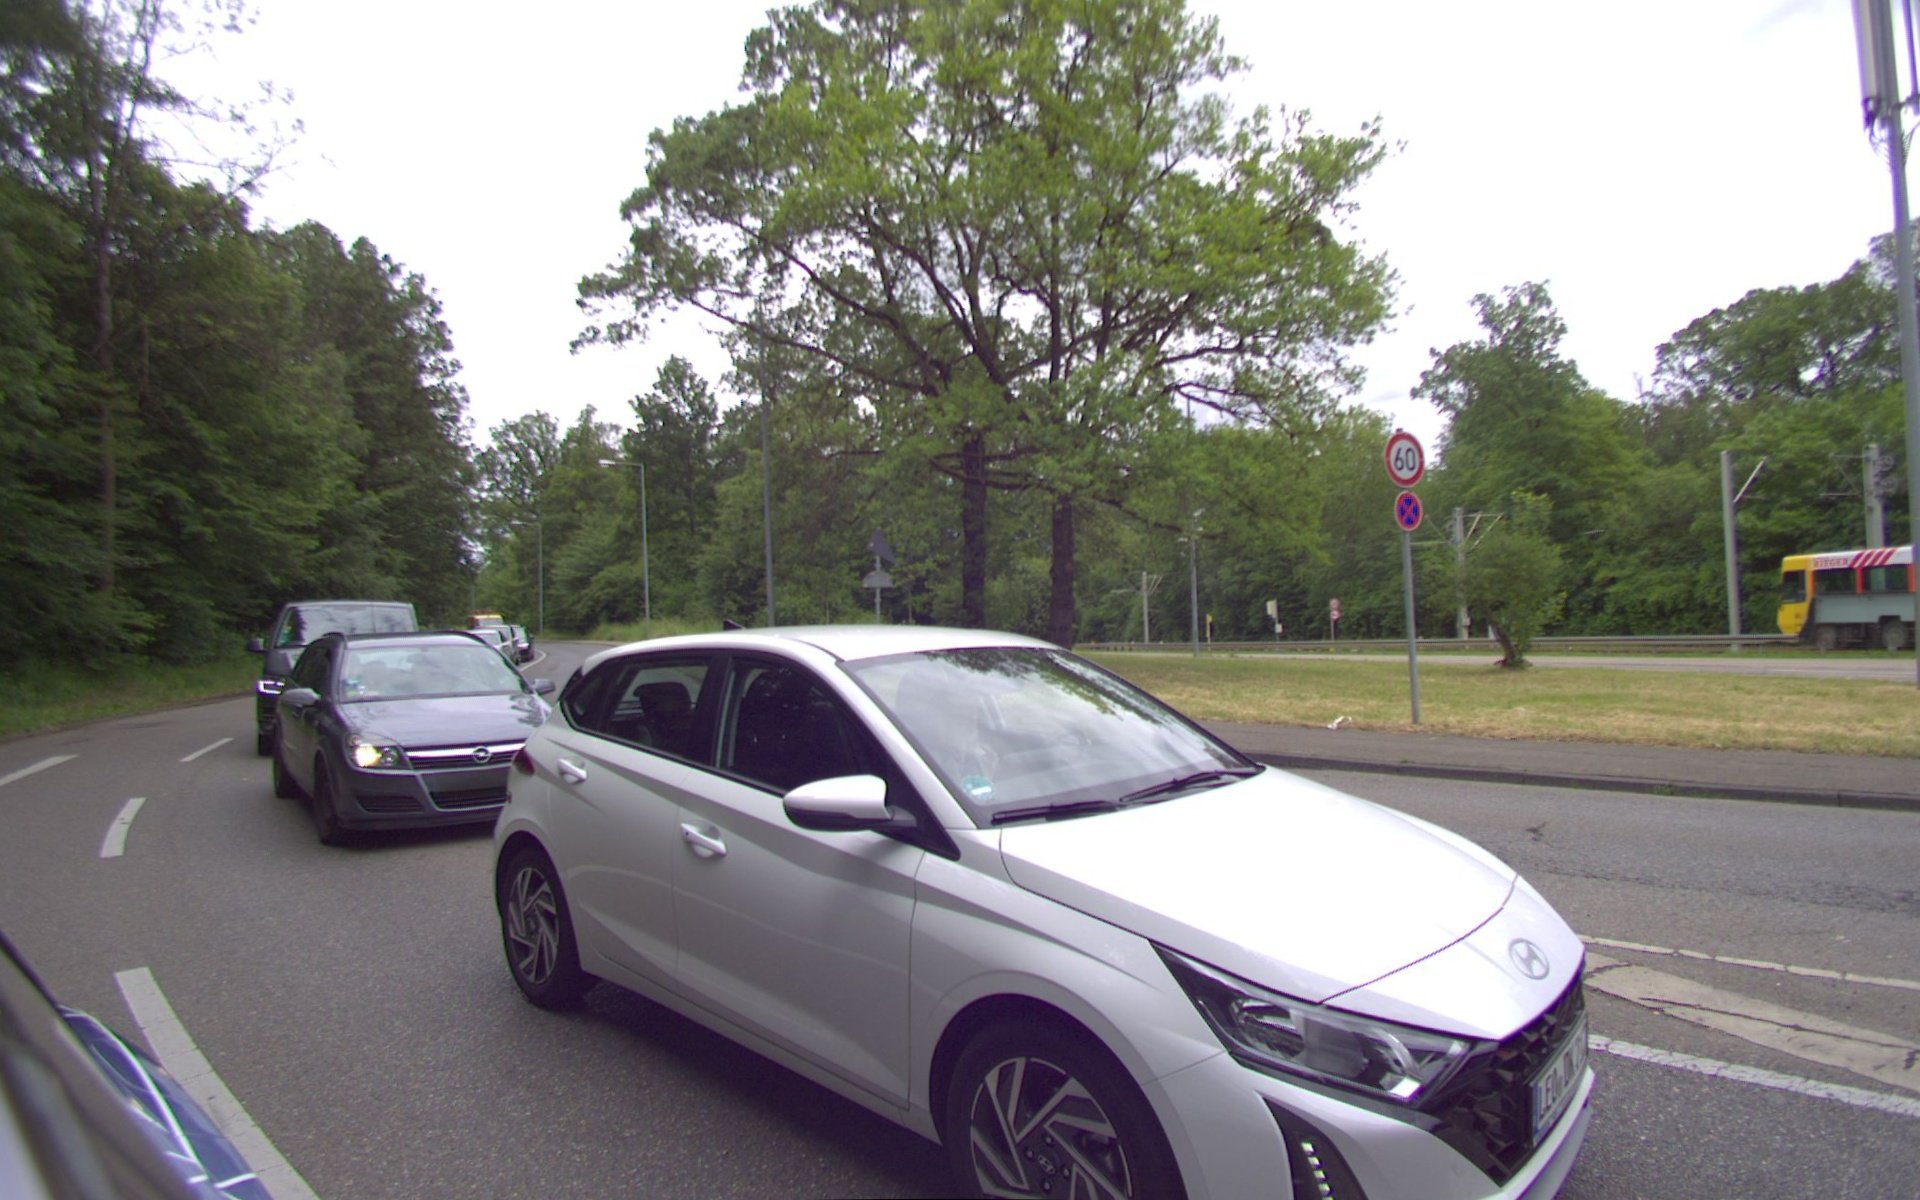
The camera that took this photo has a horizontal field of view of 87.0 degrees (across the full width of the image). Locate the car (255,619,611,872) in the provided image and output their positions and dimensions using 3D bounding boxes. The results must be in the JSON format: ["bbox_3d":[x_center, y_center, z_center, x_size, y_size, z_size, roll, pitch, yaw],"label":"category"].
[{"bbox_3d":[-4.575,0.962,8.380,1.775,1.490,4.478,0,-2,-39],"label":"car"}]

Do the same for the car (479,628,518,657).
[{"bbox_3d":[-25.534,2.317,56.091,1.749,1.511,3.885,-1,-2,-22],"label":"car"}]

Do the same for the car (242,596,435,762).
[{"bbox_3d":[-8.458,0.977,14.045,1.957,1.887,4.545,0,-2,-29],"label":"car"}]

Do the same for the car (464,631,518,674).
[{"bbox_3d":[-17.762,1.963,38.362,1.748,1.511,3.885,0,-2,-25],"label":"car"}]

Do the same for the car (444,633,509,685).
[{"bbox_3d":[-15.410,1.835,32.332,1.748,1.511,3.885,0,-2,-25],"label":"car"}]

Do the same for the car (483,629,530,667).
[{"bbox_3d":[-19.387,2.035,43.244,1.748,1.511,3.885,0,-2,-25],"label":"car"}]

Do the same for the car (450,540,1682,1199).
[{"bbox_3d":[-0.134,0.730,3.501,4.073,1.490,1.631,-3,-2,43],"label":"car"}]

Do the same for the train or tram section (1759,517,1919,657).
[{"bbox_3d":[32.665,-0.444,28.410,2.917,4.451,18.770,-1,0,-10],"label":"train or tram section"}]

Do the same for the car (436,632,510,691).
[{"bbox_3d":[-13.686,1.678,28.522,1.748,1.511,3.885,0,-2,-25],"label":"car"}]
